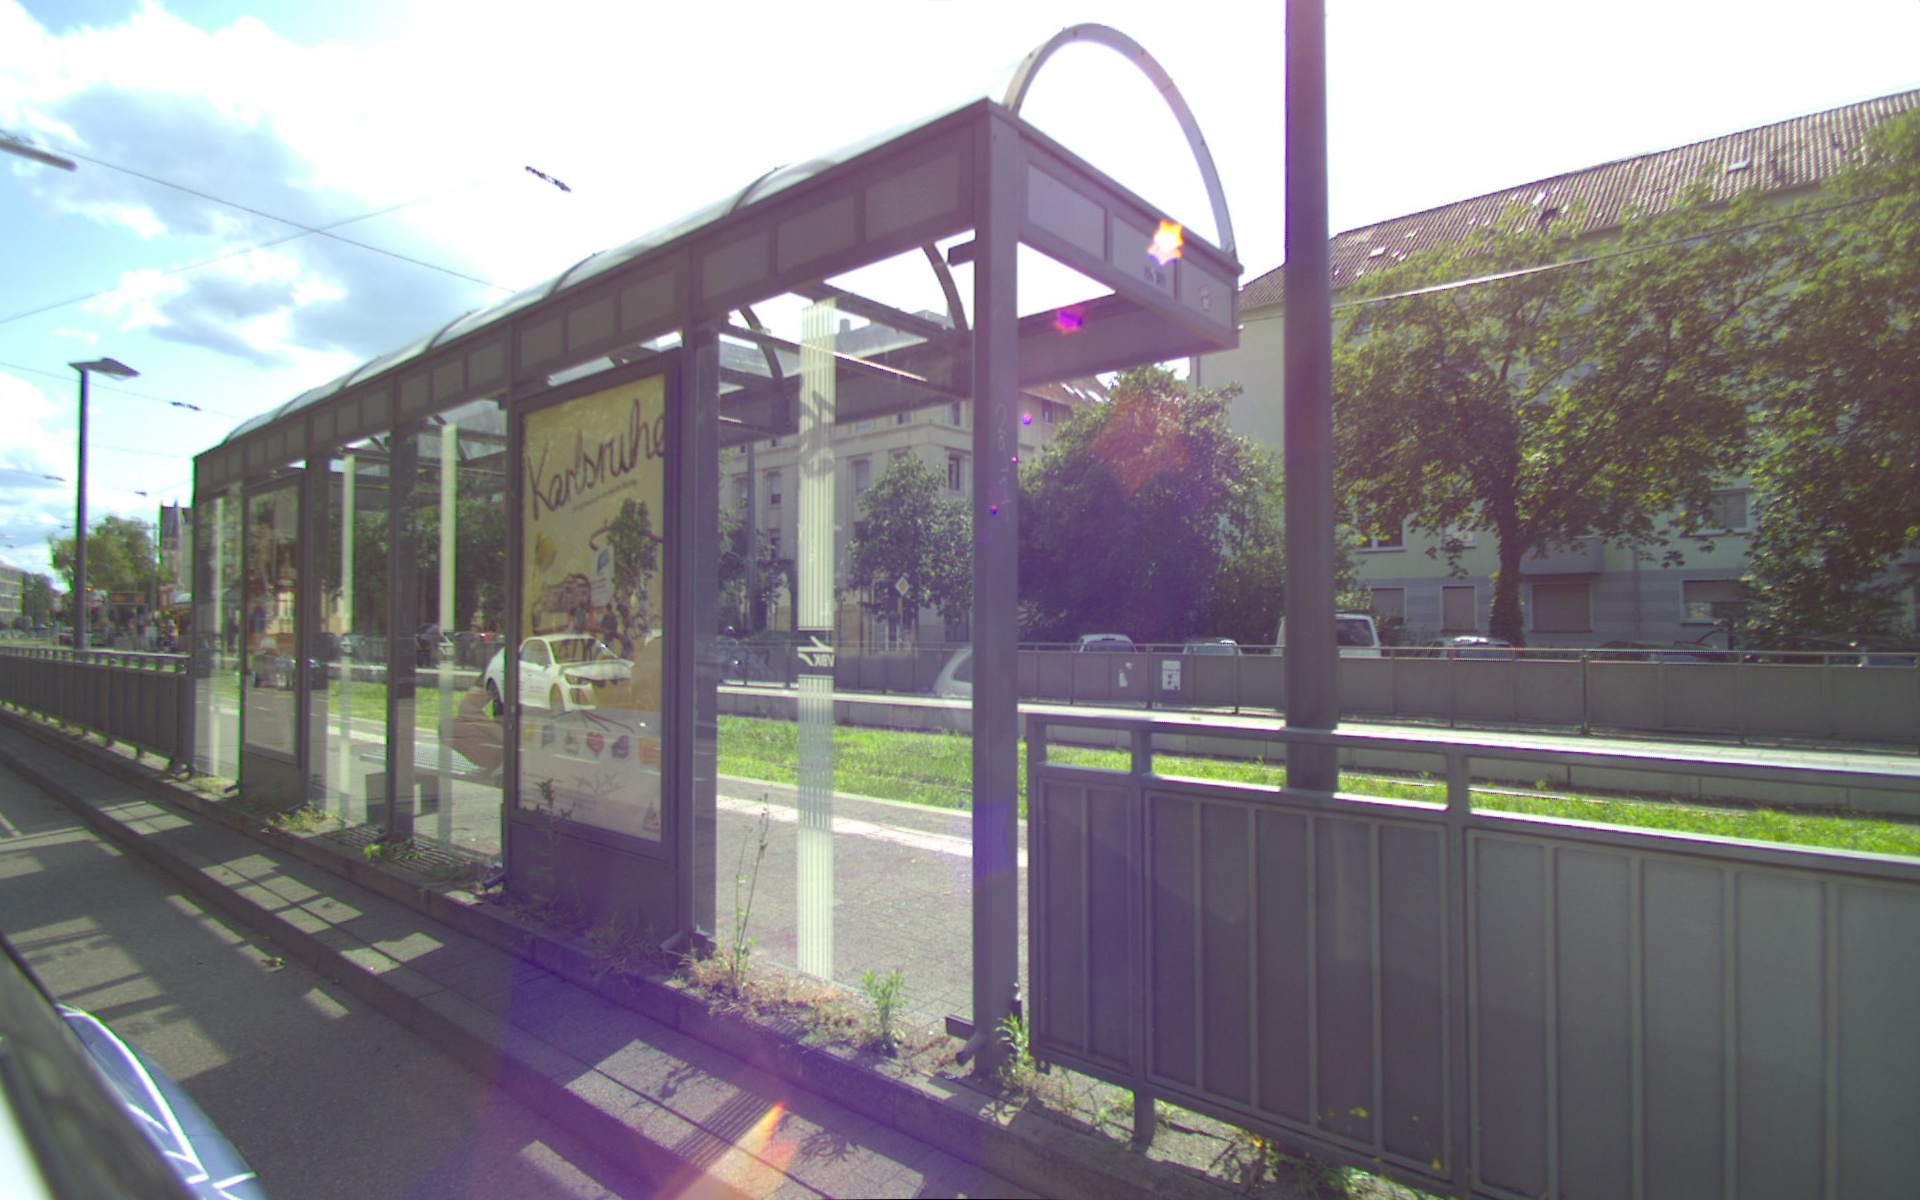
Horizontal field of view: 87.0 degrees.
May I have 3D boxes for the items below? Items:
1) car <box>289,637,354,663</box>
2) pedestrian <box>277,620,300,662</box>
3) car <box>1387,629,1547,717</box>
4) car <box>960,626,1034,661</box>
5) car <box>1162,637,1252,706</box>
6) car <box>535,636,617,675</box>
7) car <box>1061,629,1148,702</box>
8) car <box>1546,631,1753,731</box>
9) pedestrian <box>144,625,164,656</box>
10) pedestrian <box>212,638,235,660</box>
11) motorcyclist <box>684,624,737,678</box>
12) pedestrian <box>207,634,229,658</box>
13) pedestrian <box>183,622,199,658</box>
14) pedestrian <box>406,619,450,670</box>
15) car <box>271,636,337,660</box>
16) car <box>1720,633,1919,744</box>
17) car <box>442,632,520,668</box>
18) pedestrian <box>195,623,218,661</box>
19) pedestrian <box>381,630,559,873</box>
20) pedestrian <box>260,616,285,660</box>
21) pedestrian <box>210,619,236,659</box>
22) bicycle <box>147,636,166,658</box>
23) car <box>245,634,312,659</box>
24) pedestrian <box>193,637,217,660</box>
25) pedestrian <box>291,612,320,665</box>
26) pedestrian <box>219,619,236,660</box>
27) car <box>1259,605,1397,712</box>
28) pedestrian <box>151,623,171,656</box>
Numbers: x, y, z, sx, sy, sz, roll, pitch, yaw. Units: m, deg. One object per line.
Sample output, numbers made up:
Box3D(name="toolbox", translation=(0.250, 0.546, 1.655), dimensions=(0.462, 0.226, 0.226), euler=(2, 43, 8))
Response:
Box3D(name="car", translation=(-39.269, 3.033, 62.295), dimensions=(1.568, 1.431, 3.302), euler=(-1, 0, 10))
Box3D(name="pedestrian", translation=(-27.291, 1.666, 41.111), dimensions=(0.624, 1.687, 0.600), euler=(-1, -2, 41))
Box3D(name="car", translation=(10.115, 1.406, 20.531), dimensions=(1.699, 1.591, 3.941), euler=(-1, -2, 8))
Box3D(name="car", translation=(1.992, 2.310, 53.064), dimensions=(1.823, 1.746, 3.945), euler=(-1, -3, 41))
Box3D(name="car", translation=(5.768, 1.633, 24.019), dimensions=(1.590, 1.497, 3.991), euler=(-1, -2, 7))
Box3D(name="car", translation=(-16.176, 2.314, 42.886), dimensions=(1.899, 1.577, 4.152), euler=(1, -2, 0))
Box3D(name="car", translation=(3.554, 1.598, 25.577), dimensions=(1.803, 1.652, 3.995), euler=(-2, -2, 3))
Box3D(name="car", translation=(12.101, 1.366, 18.059), dimensions=(1.631, 1.591, 3.655), euler=(-1, -2, 10))
Box3D(name="pedestrian", translation=(-45.037, 2.272, 56.561), dimensions=(0.798, 1.712, 0.659), euler=(-1, -2, 38))
Box3D(name="pedestrian", translation=(-34.077, 2.256, 46.806), dimensions=(0.562, 1.002, 0.698), euler=(-1, -4, 38))
Box3D(name="motorcyclist", translation=(-6.371, 1.303, 25.863), dimensions=(0.986, 1.349, 0.928), euler=(-2, -3, 41))
Box3D(name="pedestrian", translation=(-34.734, 2.145, 47.366), dimensions=(0.562, 1.038, 0.647), euler=(10, 3, 38))
Box3D(name="pedestrian", translation=(-36.786, 1.901, 48.396), dimensions=(0.623, 1.739, 0.481), euler=(-1, -2, 40))
Box3D(name="pedestrian", translation=(-17.004, 1.415, 32.339), dimensions=(0.798, 1.590, 0.979), euler=(-1, -2, 38))
Box3D(name="car", translation=(-43.642, 3.172, 67.452), dimensions=(1.629, 1.508, 3.995), euler=(0, -2, 3))
Box3D(name="car", translation=(14.230, 1.331, 16.291), dimensions=(1.631, 1.591, 3.655), euler=(-1, -2, 10))
Box3D(name="car", translation=(-23.312, 2.395, 49.419), dimensions=(1.809, 1.652, 4.134), euler=(1, -2, 1))
Box3D(name="pedestrian", translation=(-32.827, 1.835, 44.108), dimensions=(0.556, 1.645, 0.593), euler=(-2, -3, 27))
Box3D(name="pedestrian", translation=(-2.363, 0.694, 4.966), dimensions=(0.652, 1.080, 0.726), euler=(0, -3, -15))
Box3D(name="pedestrian", translation=(-27.487, 1.523, 40.468), dimensions=(0.599, 1.767, 0.626), euler=(1, -2, -9))
Box3D(name="pedestrian", translation=(-32.846, 1.717, 45.118), dimensions=(1.035, 1.756, 0.626), euler=(-1, -3, 38))
Box3D(name="bicycle", translation=(-41.900, 2.440, 52.781), dimensions=(0.653, 1.122, 1.880), euler=(4, -4, -41))
Box3D(name="car", translation=(-45.861, 3.126, 68.229), dimensions=(1.850, 1.671, 3.841), euler=(0, -2, 1))
Box3D(name="pedestrian", translation=(-35.451, 2.265, 47.502), dimensions=(0.623, 1.039, 0.712), euler=(-1, -4, 38))
Box3D(name="pedestrian", translation=(-24.256, 1.423, 37.513), dimensions=(0.639, 1.906, 0.742), euler=(1, -1, 43))
Box3D(name="pedestrian", translation=(-33.296, 1.776, 45.997), dimensions=(0.623, 1.841, 0.438), euler=(-1, -3, 38))
Box3D(name="car", translation=(7.762, 1.213, 21.727), dimensions=(2.027, 2.086, 3.940), euler=(-1, -2, 9))
Box3D(name="pedestrian", translation=(-41.950, 2.071, 53.125), dimensions=(0.798, 1.737, 0.632), euler=(-1, -2, 38))
